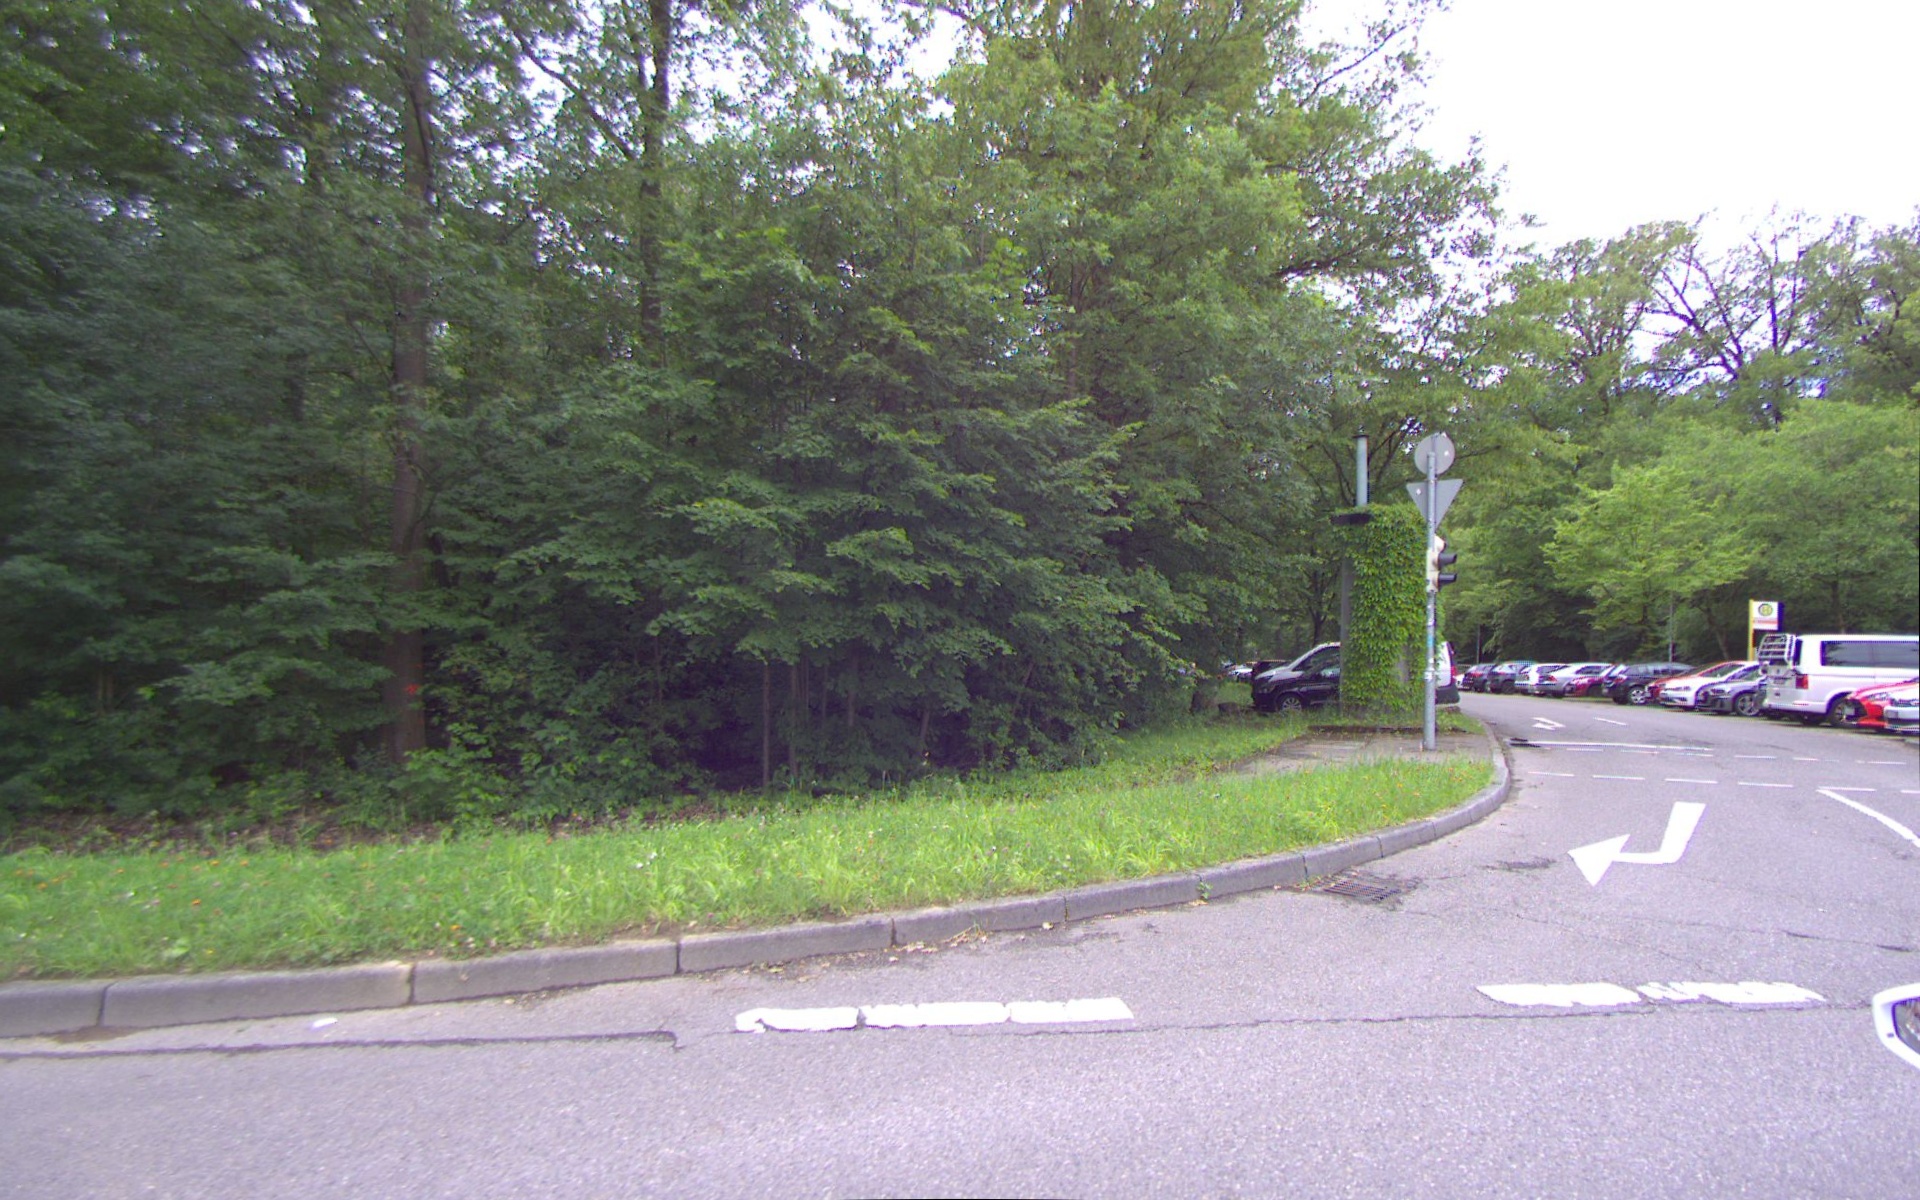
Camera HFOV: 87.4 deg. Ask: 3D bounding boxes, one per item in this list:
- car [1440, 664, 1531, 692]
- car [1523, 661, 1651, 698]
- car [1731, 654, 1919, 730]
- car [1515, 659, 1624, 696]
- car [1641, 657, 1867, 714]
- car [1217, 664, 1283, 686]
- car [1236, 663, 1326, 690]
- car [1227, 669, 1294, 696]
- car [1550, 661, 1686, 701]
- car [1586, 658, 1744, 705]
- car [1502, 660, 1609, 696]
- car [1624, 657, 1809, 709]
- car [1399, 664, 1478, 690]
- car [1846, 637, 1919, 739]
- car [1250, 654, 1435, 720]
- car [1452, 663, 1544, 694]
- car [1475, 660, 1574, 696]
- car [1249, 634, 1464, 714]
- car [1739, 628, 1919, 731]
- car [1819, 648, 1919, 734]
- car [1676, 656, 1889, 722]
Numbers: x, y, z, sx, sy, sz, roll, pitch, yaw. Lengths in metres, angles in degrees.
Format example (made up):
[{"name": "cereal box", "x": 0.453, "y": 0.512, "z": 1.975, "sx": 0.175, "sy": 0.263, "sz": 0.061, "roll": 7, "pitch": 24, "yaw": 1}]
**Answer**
[{"name": "car", "x": 28.017, "y": 4.148, "z": 53.643, "sx": 3.865, "sy": 1.429, "sz": 1.880, "roll": 0, "pitch": -3, "yaw": 9}, {"name": "car", "x": 25.743, "y": 3.261, "z": 41.363, "sx": 4.056, "sy": 1.480, "sz": 1.867, "roll": -1, "pitch": -4, "yaw": 14}, {"name": "car", "x": 21.235, "y": 2.197, "z": 24.298, "sx": 3.660, "sy": 1.575, "sz": 1.847, "roll": 1, "pitch": -1, "yaw": 18}, {"name": "car", "x": 26.402, "y": 3.378, "z": 43.655, "sx": 3.638, "sy": 1.530, "sz": 1.753, "roll": 0, "pitch": -4, "yaw": 12}, {"name": "car", "x": 22.558, "y": 2.402, "z": 28.781, "sx": 4.693, "sy": 1.495, "sz": 1.853, "roll": -1, "pitch": -3, "yaw": 19}, {"name": "car", "x": 18.707, "y": 4.834, "z": 64.863, "sx": 3.738, "sy": 1.439, "sz": 1.899, "roll": 0, "pitch": -4, "yaw": 3}, {"name": "car", "x": 18.197, "y": 4.326, "z": 57.151, "sx": 4.560, "sy": 1.497, "sz": 2.097, "roll": -1, "pitch": -4, "yaw": 9}, {"name": "car", "x": 18.524, "y": 5.073, "z": 62.067, "sx": 3.893, "sy": 1.649, "sz": 2.000, "roll": -1, "pitch": -4, "yaw": 16}, {"name": "car", "x": 25.286, "y": 3.089, "z": 38.728, "sx": 3.919, "sy": 1.468, "sz": 1.943, "roll": 0, "pitch": -4, "yaw": 12}, {"name": "car", "x": 23.703, "y": 2.728, "z": 33.925, "sx": 3.920, "sy": 1.502, "sz": 1.923, "roll": -1, "pitch": -4, "yaw": 16}, {"name": "car", "x": 27.074, "y": 3.524, "z": 45.776, "sx": 3.777, "sy": 1.565, "sz": 1.732, "roll": 0, "pitch": -4, "yaw": 10}, {"name": "car", "x": 23.453, "y": 2.562, "z": 31.326, "sx": 4.157, "sy": 1.499, "sz": 1.921, "roll": 0, "pitch": -4, "yaw": 16}, {"name": "car", "x": 29.078, "y": 4.650, "z": 61.112, "sx": 3.909, "sy": 1.503, "sz": 1.885, "roll": 0, "pitch": -3, "yaw": 4}, {"name": "car", "x": 18.277, "y": 1.513, "z": 16.987, "sx": 4.450, "sy": 1.715, "sz": 2.164, "roll": -1, "pitch": -4, "yaw": 25}, {"name": "car", "x": 8.903, "y": 1.999, "z": 23.606, "sx": 3.921, "sy": 1.397, "sz": 1.723, "roll": 0, "pitch": -3, "yaw": 20}, {"name": "car", "x": 27.232, "y": 3.965, "z": 50.959, "sx": 3.704, "sy": 1.500, "sz": 1.775, "roll": 0, "pitch": -3, "yaw": 7}, {"name": "car", "x": 27.034, "y": 3.708, "z": 48.234, "sx": 3.703, "sy": 1.610, "sz": 1.951, "roll": 0, "pitch": -3, "yaw": 11}, {"name": "car", "x": 10.266, "y": 1.927, "z": 26.304, "sx": 5.003, "sy": 1.940, "sz": 1.979, "roll": -1, "pitch": -4, "yaw": 21}, {"name": "car", "x": 20.105, "y": 1.722, "z": 21.825, "sx": 4.572, "sy": 2.048, "sz": 2.083, "roll": 1, "pitch": -1, "yaw": 20}, {"name": "car", "x": 19.290, "y": 1.775, "z": 19.244, "sx": 3.935, "sy": 1.575, "sz": 1.945, "roll": 0, "pitch": -2, "yaw": 26}, {"name": "car", "x": 21.619, "y": 2.339, "z": 26.602, "sx": 3.920, "sy": 1.502, "sz": 1.879, "roll": 1, "pitch": -4, "yaw": 18}]
